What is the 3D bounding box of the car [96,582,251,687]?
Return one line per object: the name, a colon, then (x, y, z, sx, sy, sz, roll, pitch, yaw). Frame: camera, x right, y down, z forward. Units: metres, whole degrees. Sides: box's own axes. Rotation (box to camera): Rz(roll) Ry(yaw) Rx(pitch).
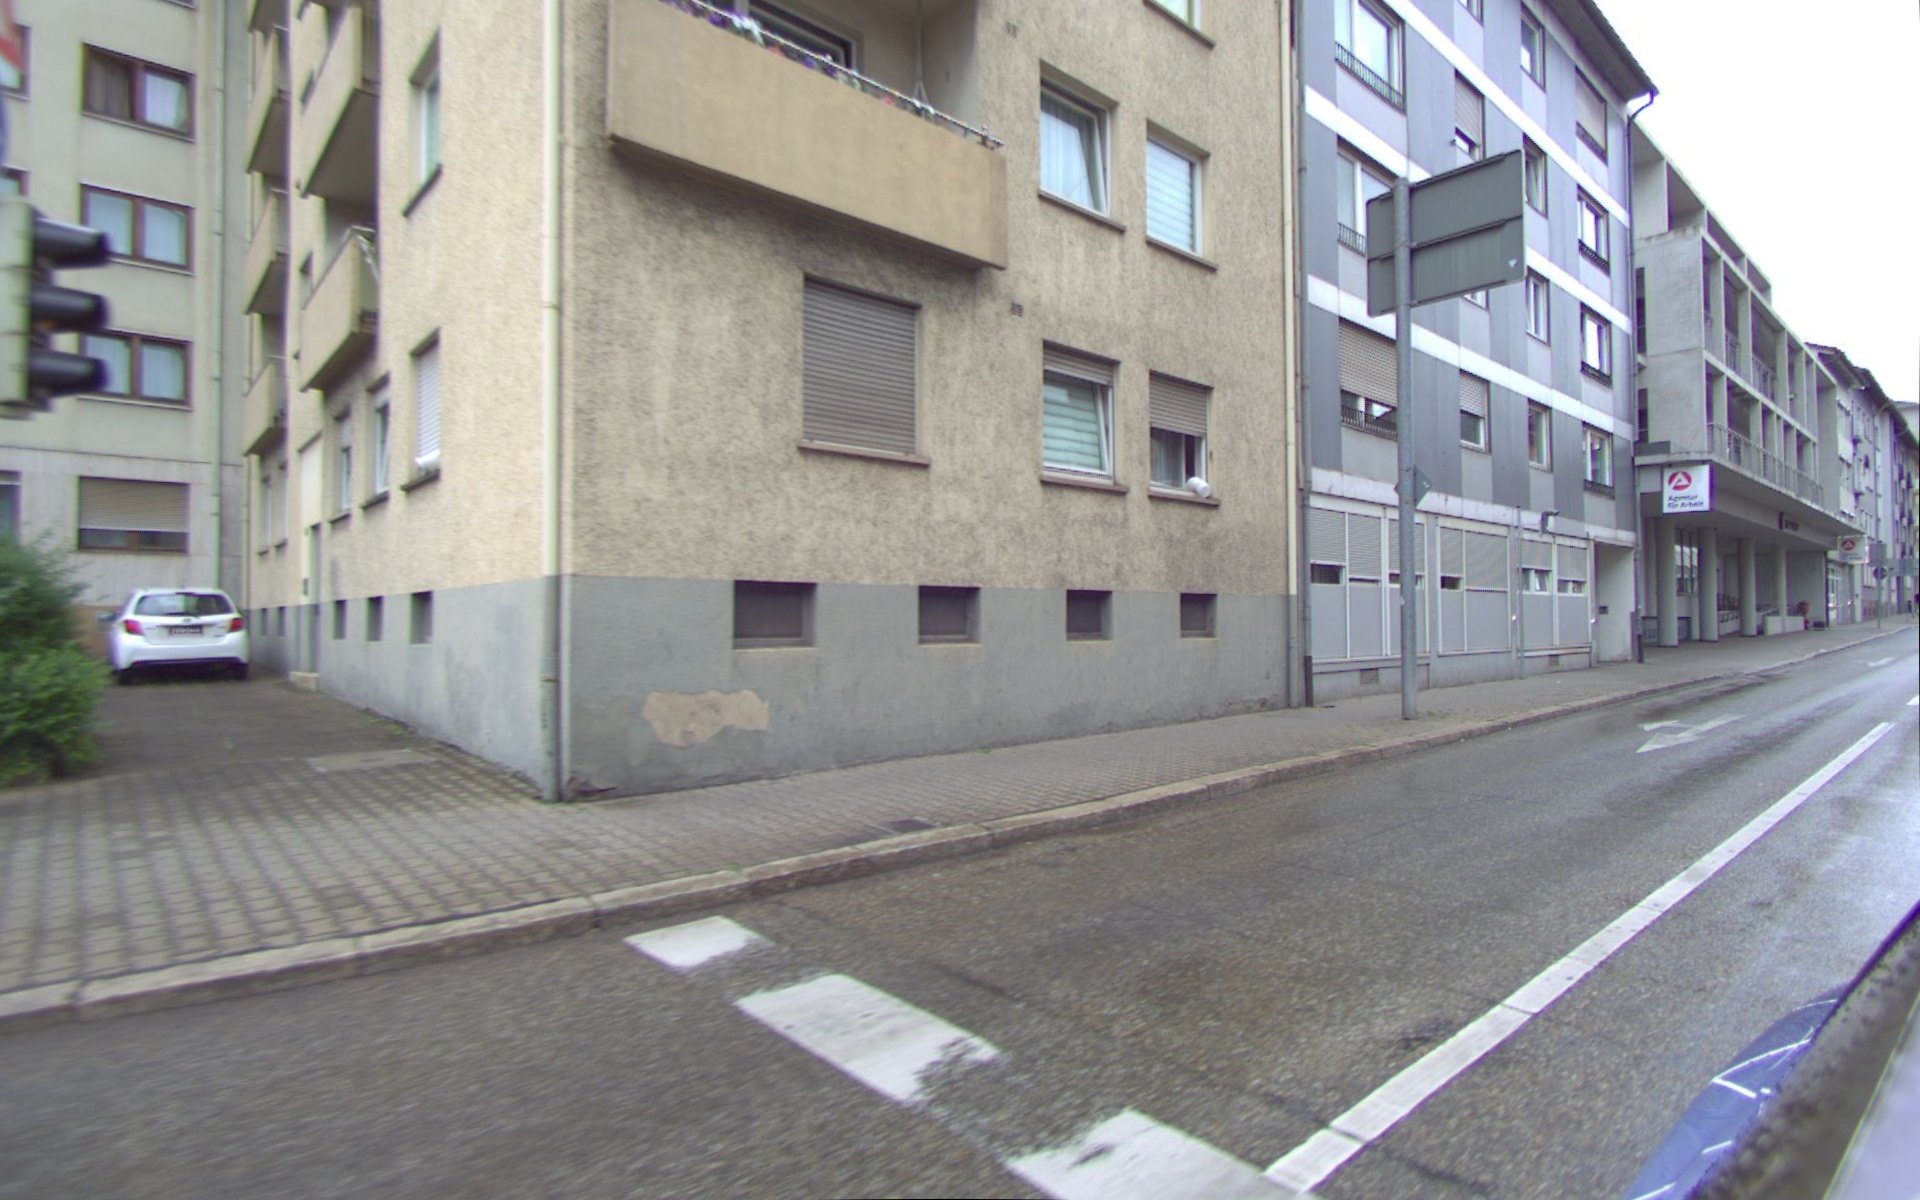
car: (-13.010, 0.473, 16.674, 1.737, 1.492, 3.318, -1, 2, -43)
